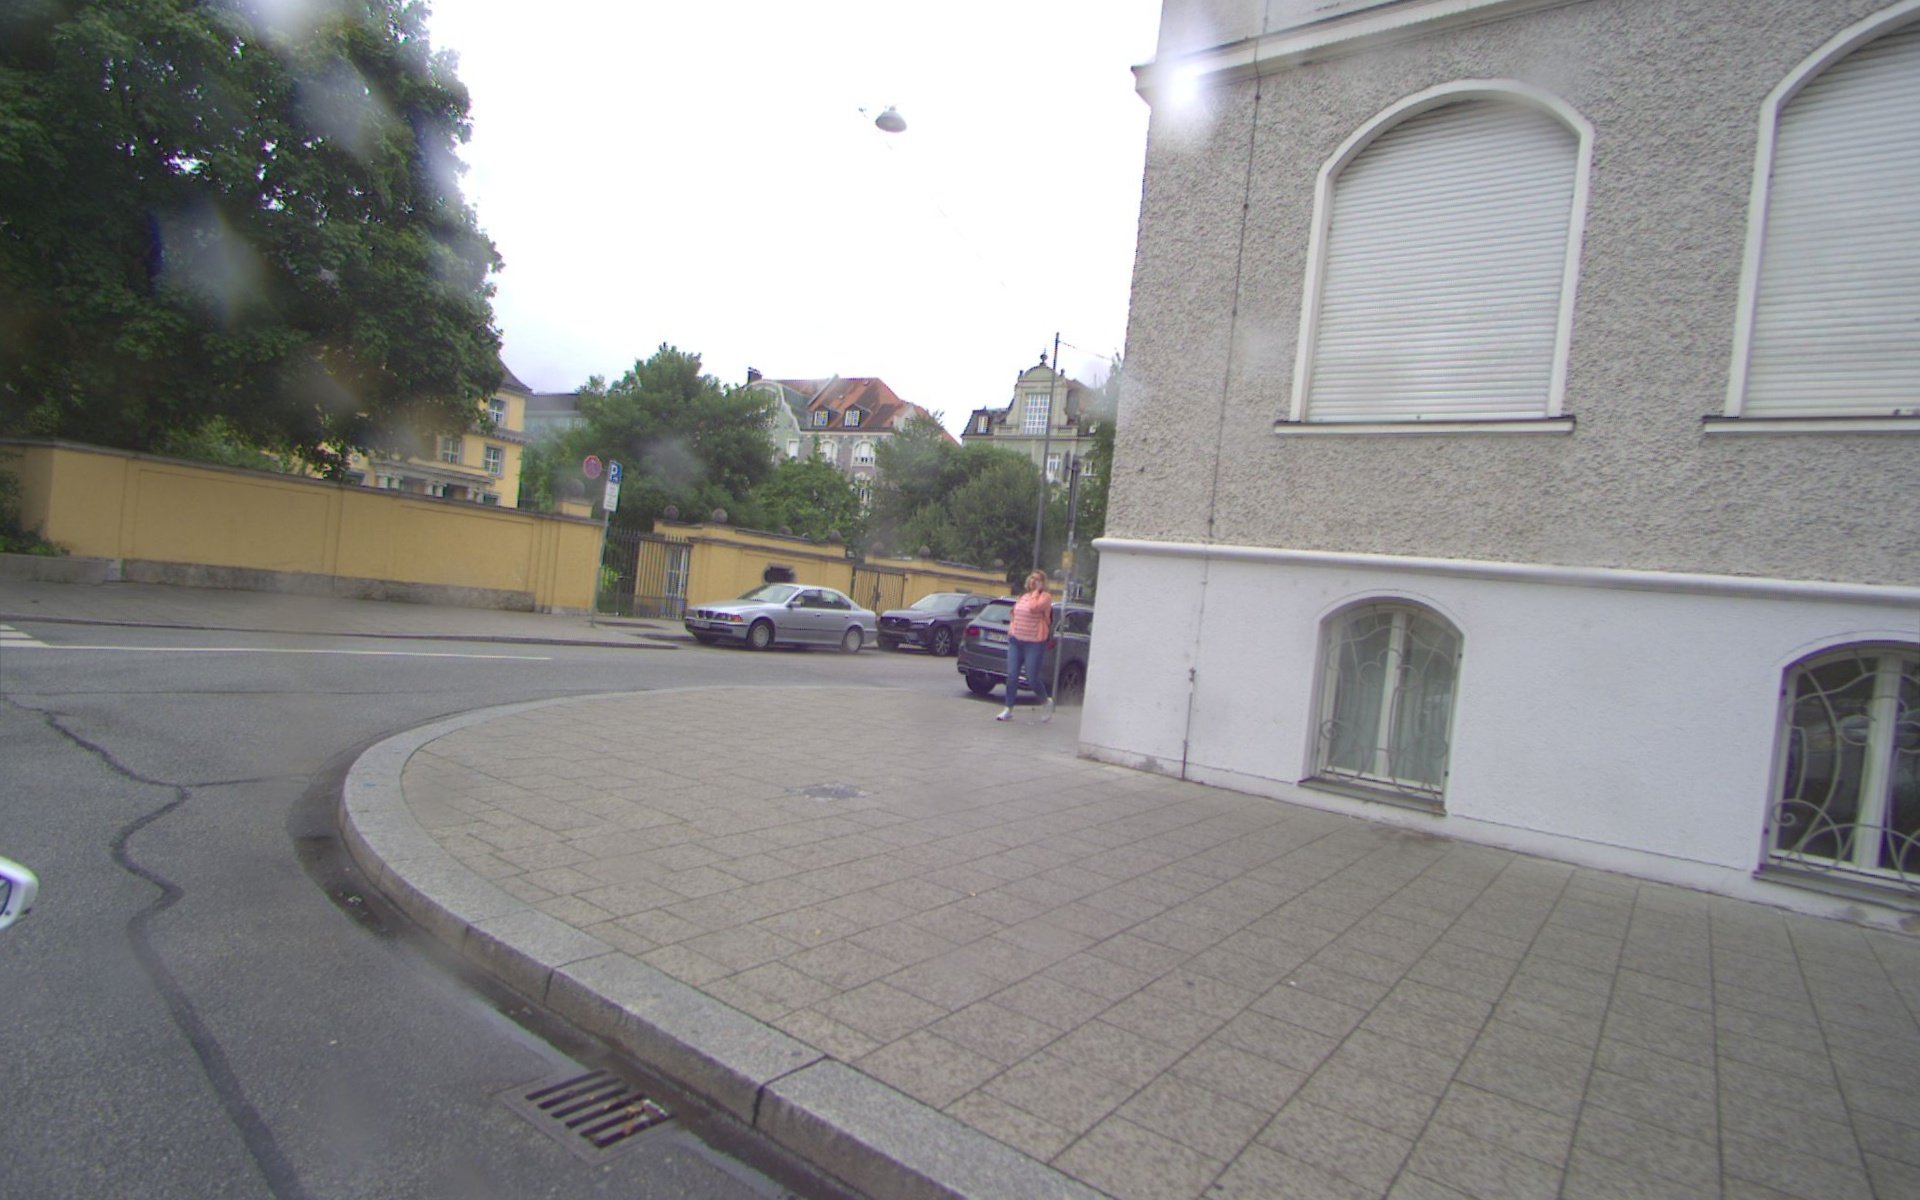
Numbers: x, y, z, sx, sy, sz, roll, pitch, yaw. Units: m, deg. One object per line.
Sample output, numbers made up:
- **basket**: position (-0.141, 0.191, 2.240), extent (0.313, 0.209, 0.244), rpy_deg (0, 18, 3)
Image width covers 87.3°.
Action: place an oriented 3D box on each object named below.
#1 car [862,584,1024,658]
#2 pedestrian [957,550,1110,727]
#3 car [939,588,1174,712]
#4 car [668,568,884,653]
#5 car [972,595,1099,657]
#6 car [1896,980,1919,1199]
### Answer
- **car**: position (-0.341, 0.591, 26.212), extent (1.796, 1.549, 4.557), rpy_deg (7, 1, 35)
- **pedestrian**: position (0.851, 0.439, 11.772), extent (1.083, 1.897, 1.198), rpy_deg (5, 2, -41)
- **car**: position (1.778, 0.856, 17.056), extent (1.863, 1.637, 4.405), rpy_deg (8, 1, 36)
- **car**: position (-3.807, 0.285, 21.598), extent (1.796, 1.420, 4.557), rpy_deg (7, 1, 35)
- **car**: position (2.370, 0.838, 30.670), extent (1.796, 1.549, 4.390), rpy_deg (7, 1, 34)
- **car**: position (4.341, 0.868, 0.791), extent (4.848, 1.988, 1.915), rpy_deg (7, 2, 34)
